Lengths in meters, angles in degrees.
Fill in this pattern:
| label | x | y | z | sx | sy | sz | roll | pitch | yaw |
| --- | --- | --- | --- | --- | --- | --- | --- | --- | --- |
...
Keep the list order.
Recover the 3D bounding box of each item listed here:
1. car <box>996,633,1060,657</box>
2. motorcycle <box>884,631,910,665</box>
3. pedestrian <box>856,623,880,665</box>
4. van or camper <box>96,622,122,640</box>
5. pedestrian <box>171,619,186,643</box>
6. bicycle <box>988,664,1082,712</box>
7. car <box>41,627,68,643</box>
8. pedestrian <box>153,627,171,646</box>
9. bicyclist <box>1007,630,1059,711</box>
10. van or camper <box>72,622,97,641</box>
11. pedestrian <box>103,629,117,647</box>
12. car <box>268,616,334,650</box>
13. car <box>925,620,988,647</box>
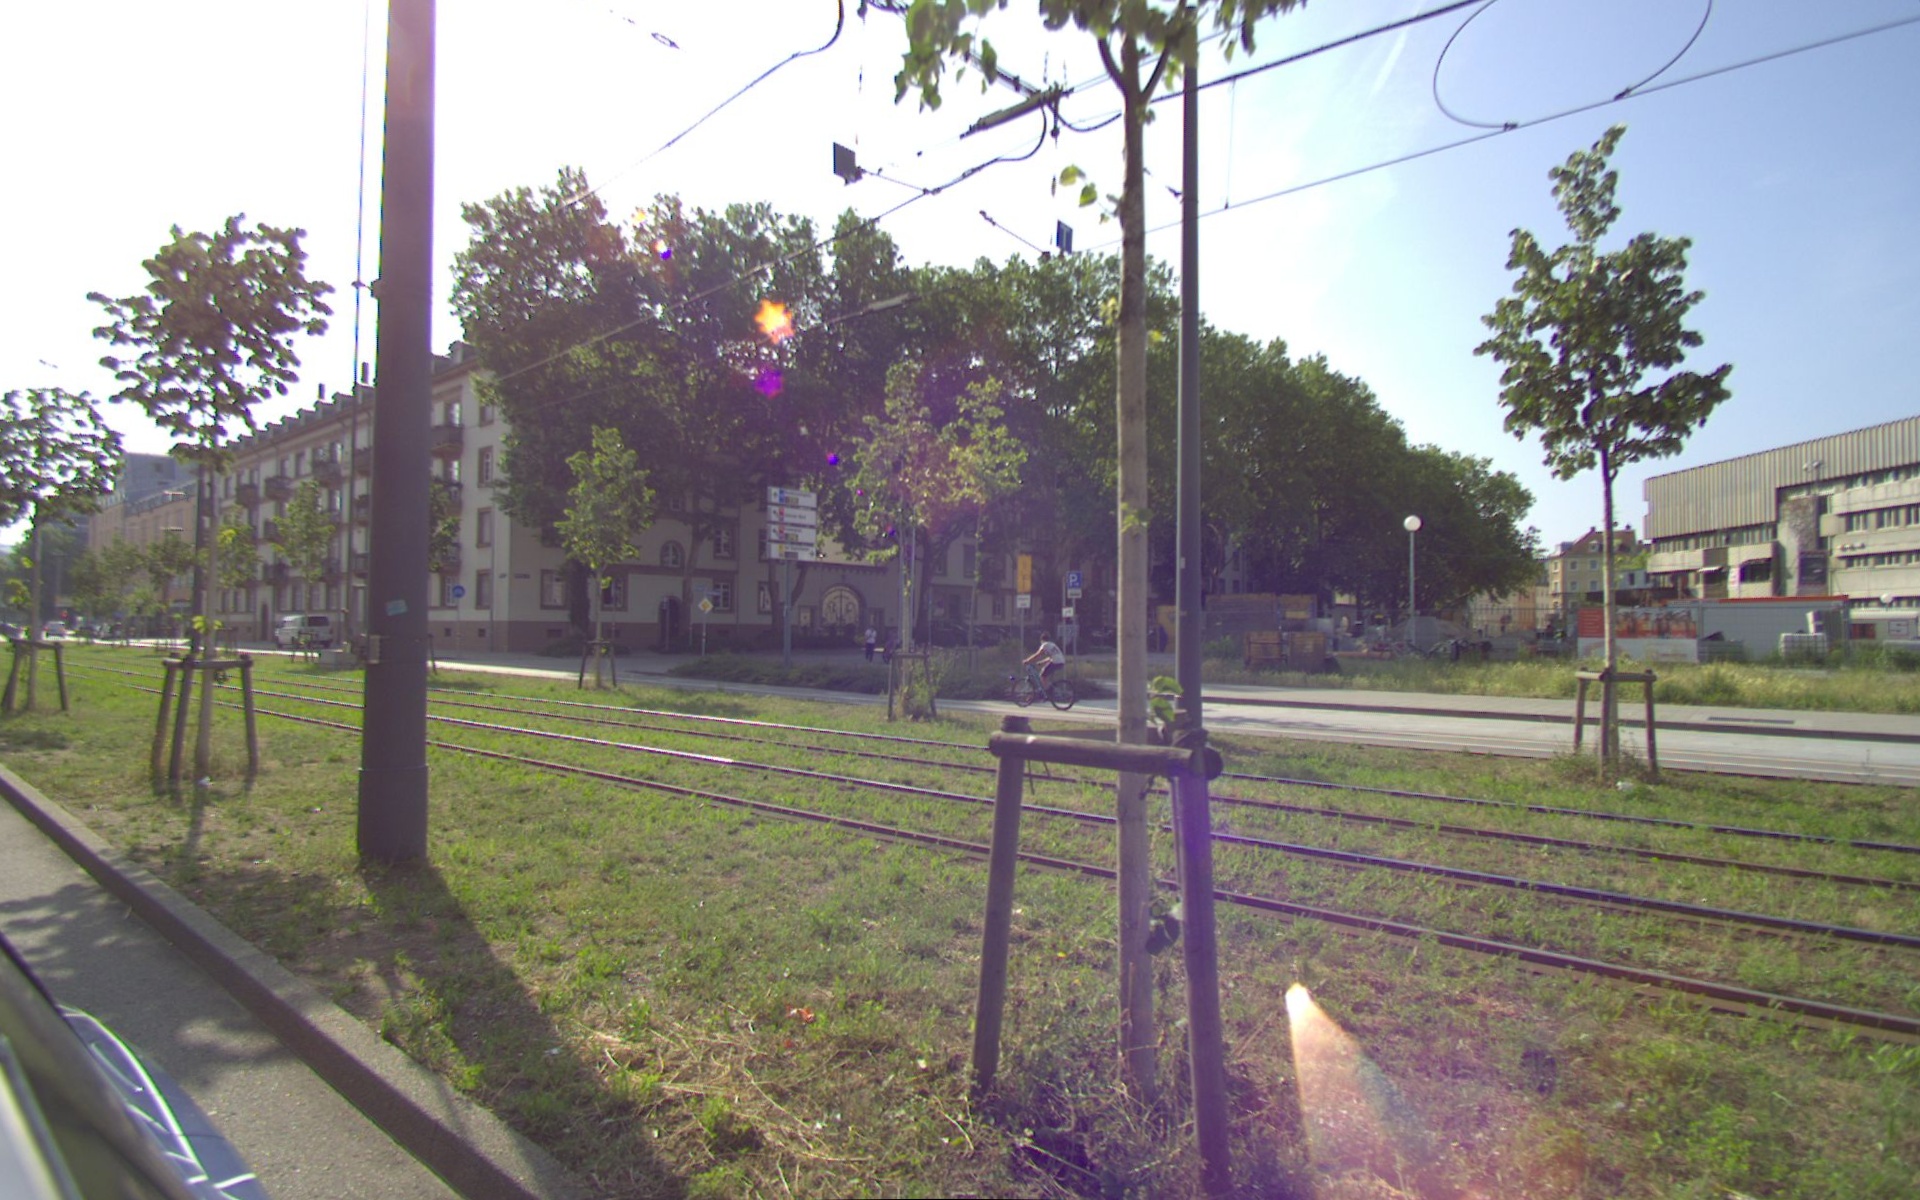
| label | x | y | z | sx | sy | sz | roll | pitch | yaw |
| --- | --- | --- | --- | --- | --- | --- | --- | --- | --- |
| car | 4.167 | 2.739 | 61.723 | 1.998 | 1.386 | 3.946 | -1 | -2 | 40 |
| motorcycle | -2.626 | 1.998 | 42.472 | 0.807 | 1.379 | 2.294 | 0 | -2 | 3 |
| pedestrian | -3.741 | 1.797 | 41.164 | 0.673 | 1.690 | 0.731 | -1 | -2 | 25 |
| van or camper | -95.490 | 3.523 | 113.553 | 4.002 | 1.983 | 1.908 | -2 | -3 | 45 |
| pedestrian | -68.289 | 2.677 | 88.412 | 1.156 | 2.084 | 0.833 | -1 | -2 | 41 |
| bicycle | 1.651 | 1.929 | 22.432 | 2.077 | 0.968 | 0.655 | -1 | -3 | 41 |
| car | -111.024 | 4.263 | 124.070 | 5.045 | 1.909 | 1.972 | -2 | -3 | 42 |
| pedestrian | -79.783 | 3.685 | 101.167 | 0.855 | 1.882 | 1.067 | 0 | -2 | 13 |
| bicyclist | 1.617 | 1.549 | 22.497 | 0.918 | 1.749 | 0.640 | -1 | -4 | 41 |
| van or camper | -129.748 | 4.645 | 149.997 | 5.350 | 2.823 | 1.973 | -1 | -3 | 41 |
| pedestrian | -74.757 | 3.338 | 89.038 | 0.680 | 1.595 | 0.796 | -2 | -3 | 42 |
| car | -39.378 | 1.970 | 60.434 | 5.150 | 1.932 | 1.973 | -2 | -1 | 41 |
| car | -0.242 | 2.282 | 68.635 | 3.997 | 1.763 | 1.973 | -1 | -2 | 40 |
